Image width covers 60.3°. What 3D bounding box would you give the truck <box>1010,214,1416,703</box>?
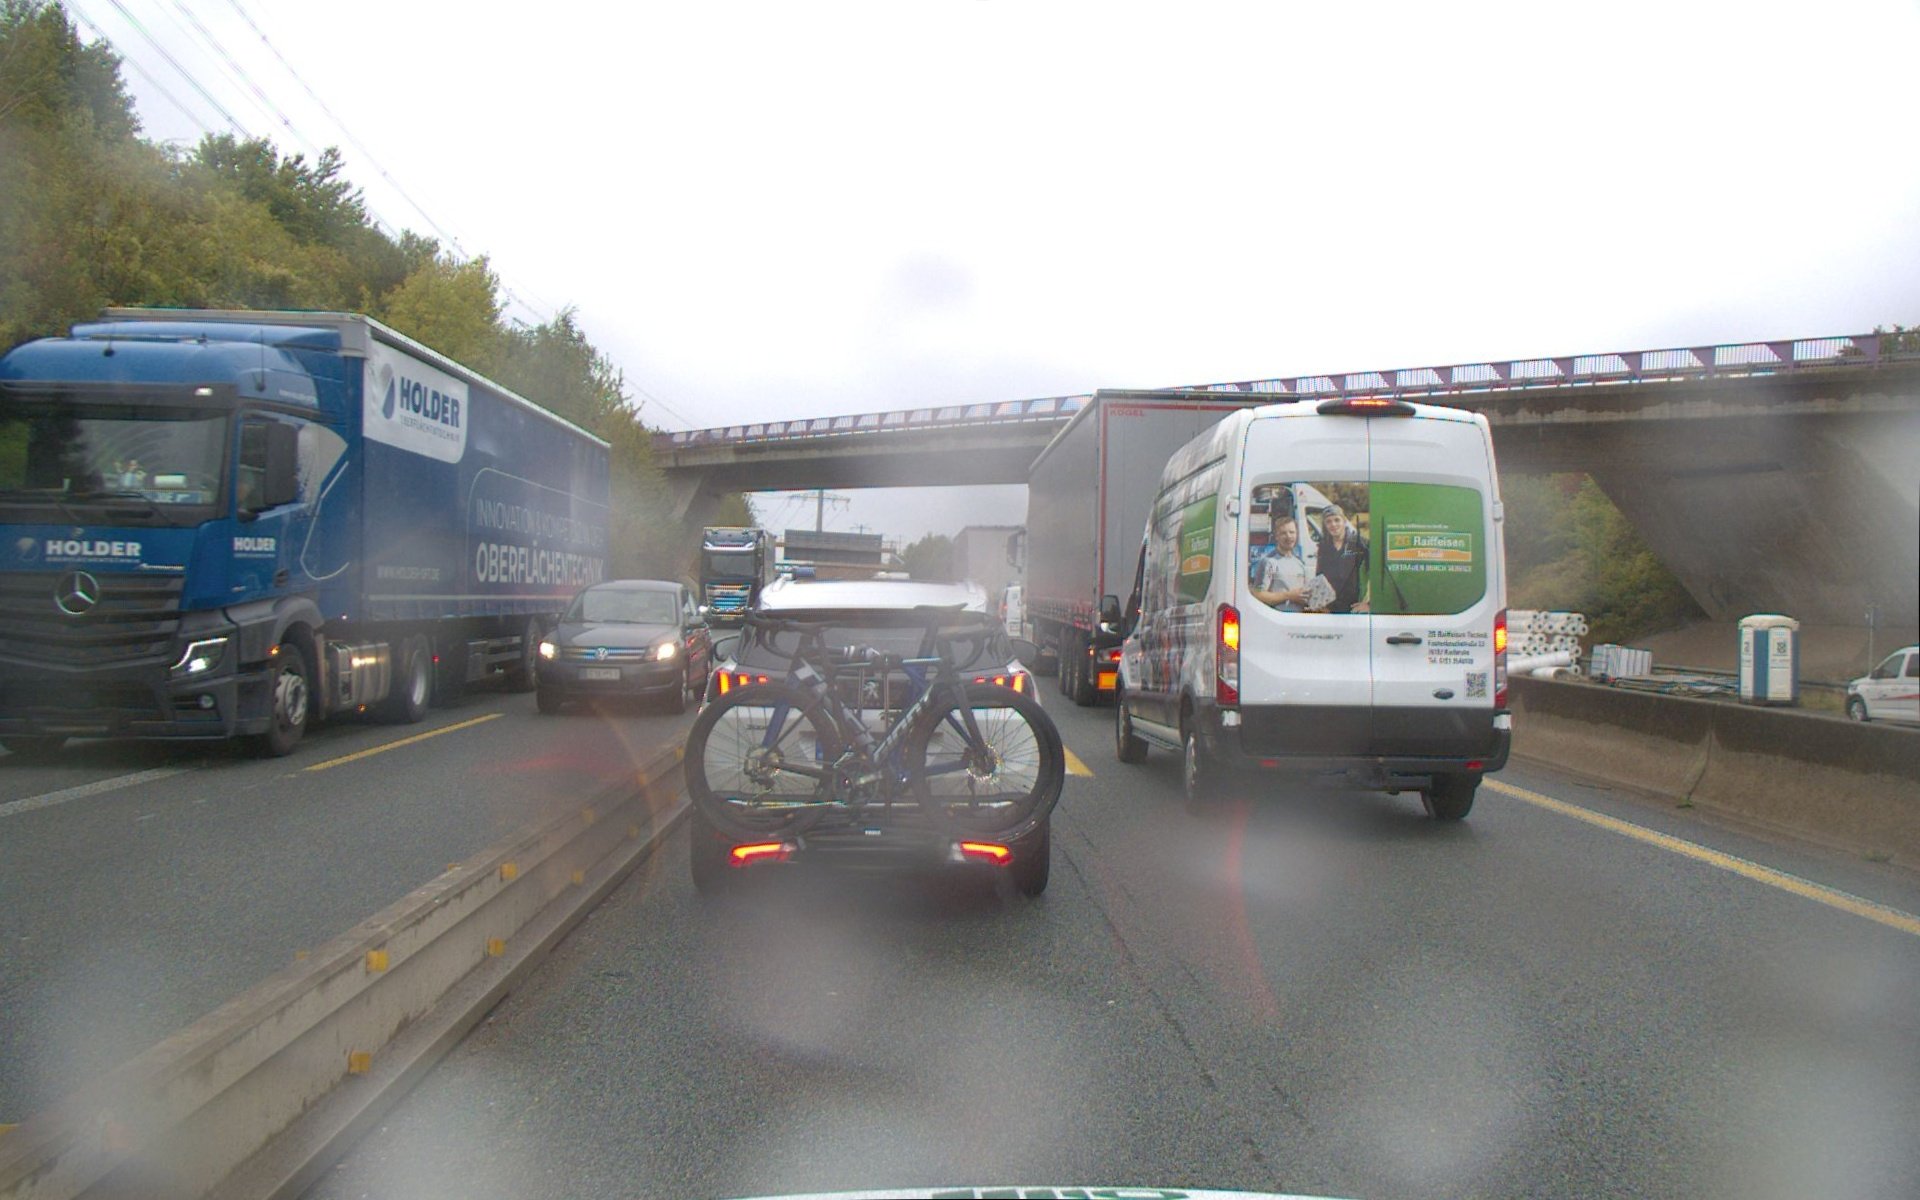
[{"bbox_3d":[3.339,-1.647,29.916,3.899,5.772,20.371,1,0,-1],"label":"truck"}]

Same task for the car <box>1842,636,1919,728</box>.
[{"bbox_3d":[20.646,1.724,34.875,1.810,1.840,4.155,1,0,-1],"label":"car"}]

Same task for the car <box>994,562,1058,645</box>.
[{"bbox_3d":[1.833,0.110,47.008,1.635,2.218,4.534,1,0,0],"label":"car"}]

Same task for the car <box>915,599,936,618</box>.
[{"bbox_3d":[-2.767,0.677,132.521,1.605,1.524,3.665,1,0,-1],"label":"car"}]

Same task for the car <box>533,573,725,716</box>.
[{"bbox_3d":[-4.123,0.527,21.226,1.748,1.638,4.102,1,0,-2],"label":"car"}]

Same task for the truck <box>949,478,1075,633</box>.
[{"bbox_3d":[2.004,-1.653,72.592,4.646,5.772,20.375,1,0,0],"label":"truck"}]

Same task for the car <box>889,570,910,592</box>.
[{"bbox_3d":[-6.646,-2.111,181.901,2.194,2.348,4.571,1,0,-1],"label":"car"}]

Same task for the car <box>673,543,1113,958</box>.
[{"bbox_3d":[-0.261,0.625,9.068,1.773,1.666,4.635,1,0,0],"label":"car"}]

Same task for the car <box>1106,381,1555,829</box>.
[{"bbox_3d":[2.553,0.045,13.219,2.101,2.723,6.116,1,0,-1],"label":"car"}]

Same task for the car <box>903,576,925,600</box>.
[{"bbox_3d":[-4.137,-1.071,149.420,1.953,2.049,3.999,1,0,-1],"label":"car"}]

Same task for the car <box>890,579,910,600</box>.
[{"bbox_3d":[-6.132,-1.047,168.840,1.953,2.049,3.999,1,0,-1],"label":"car"}]

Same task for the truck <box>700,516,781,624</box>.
[{"bbox_3d":[-9.187,-1.165,70.207,2.414,4.195,10.084,1,0,-2],"label":"truck"}]

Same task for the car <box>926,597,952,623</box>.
[{"bbox_3d":[-1.322,0.622,103.886,1.605,1.524,3.665,1,0,-1],"label":"car"}]

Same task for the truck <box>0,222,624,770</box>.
[{"bbox_3d":[-7.217,-0.778,21.198,2.710,4.195,16.922,1,0,-1],"label":"truck"}]

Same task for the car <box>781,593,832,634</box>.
[{"bbox_3d":[-5.944,0.531,64.380,1.900,1.520,3.996,1,0,-4],"label":"car"}]

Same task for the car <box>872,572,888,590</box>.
[{"bbox_3d":[-10.284,-2.406,213.272,1.953,2.164,4.526,1,0,-1],"label":"car"}]
